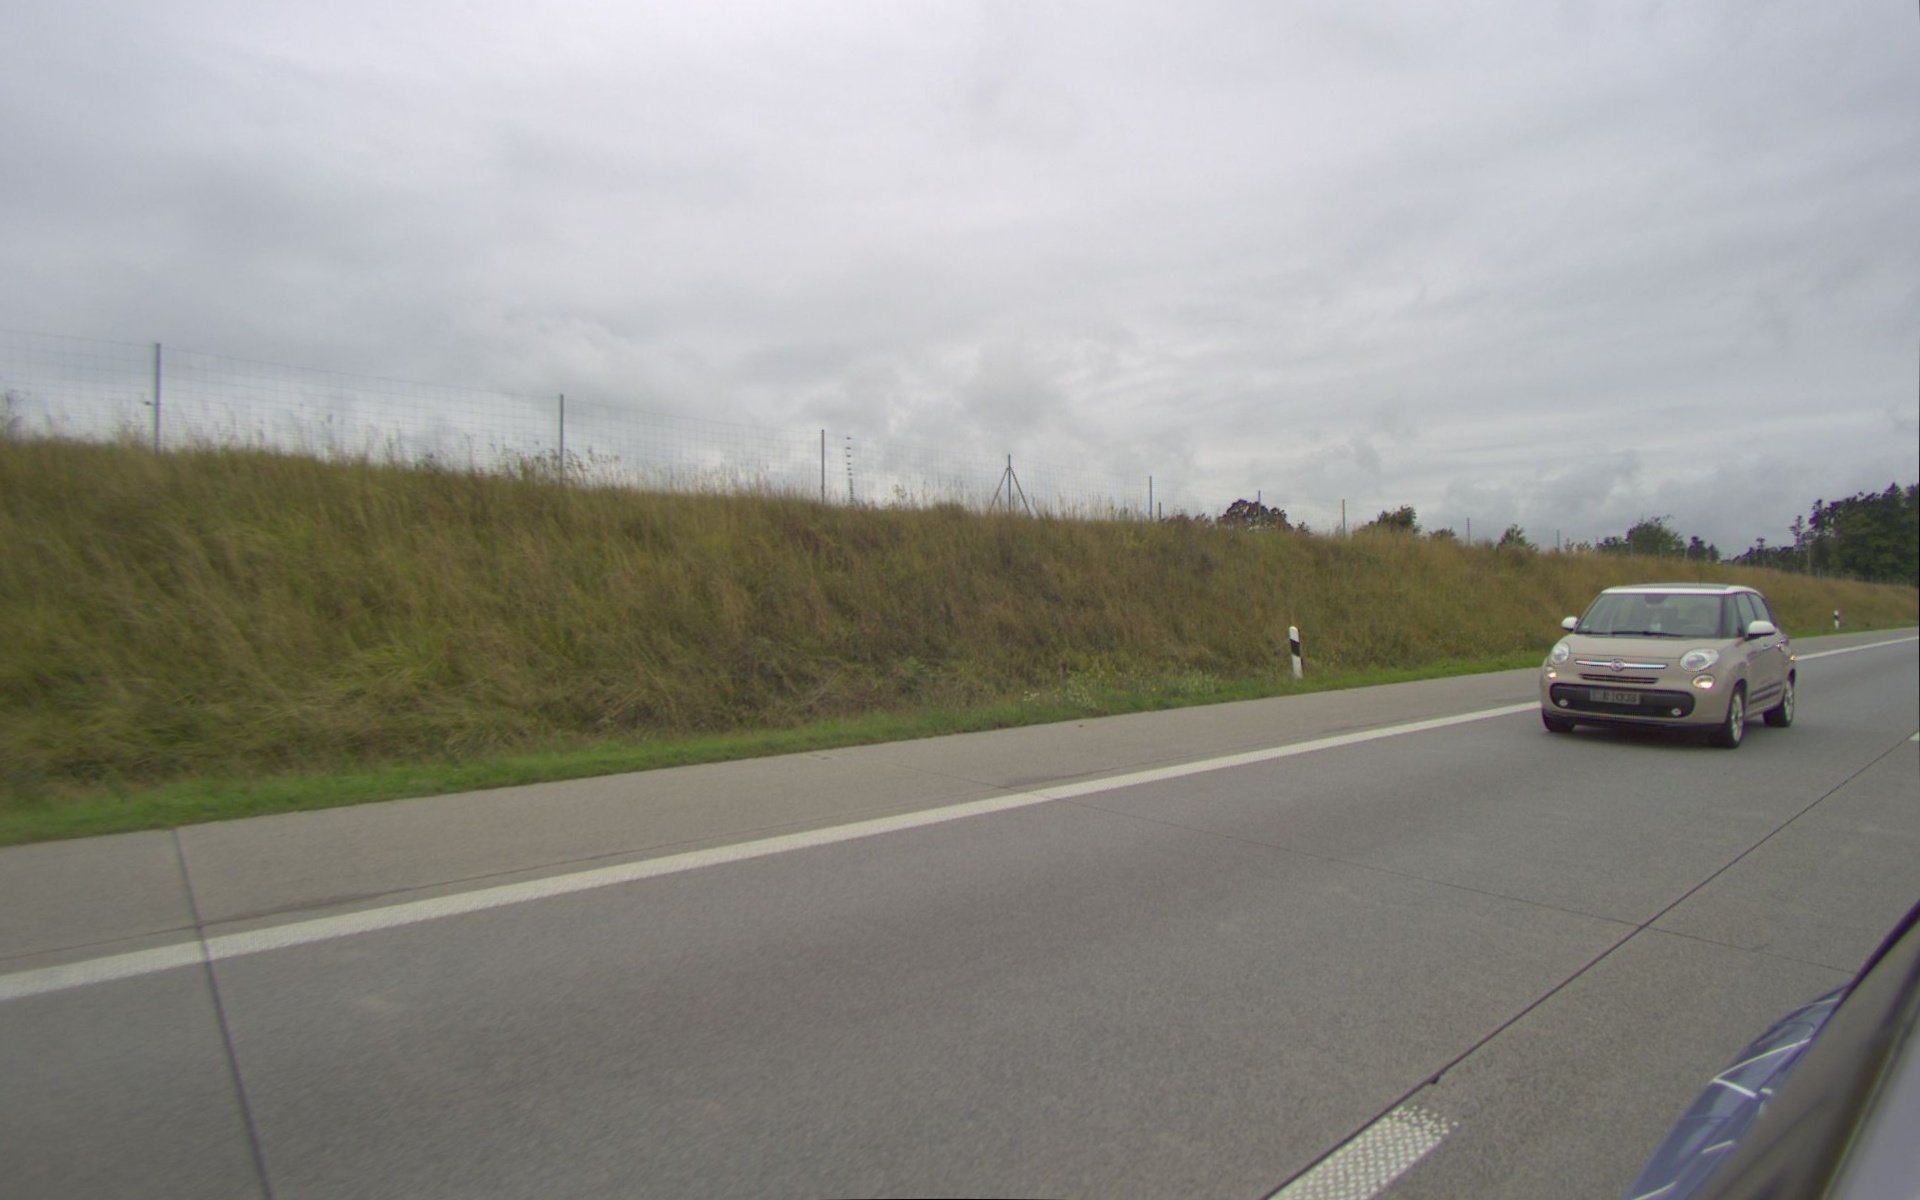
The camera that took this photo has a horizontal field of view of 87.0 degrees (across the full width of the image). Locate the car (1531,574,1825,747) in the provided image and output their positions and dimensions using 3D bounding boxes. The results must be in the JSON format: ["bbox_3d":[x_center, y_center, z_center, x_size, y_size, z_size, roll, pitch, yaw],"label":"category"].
[{"bbox_3d":[8.428,0.577,11.716,4.491,1.625,1.788,0,0,-41],"label":"car"}]
